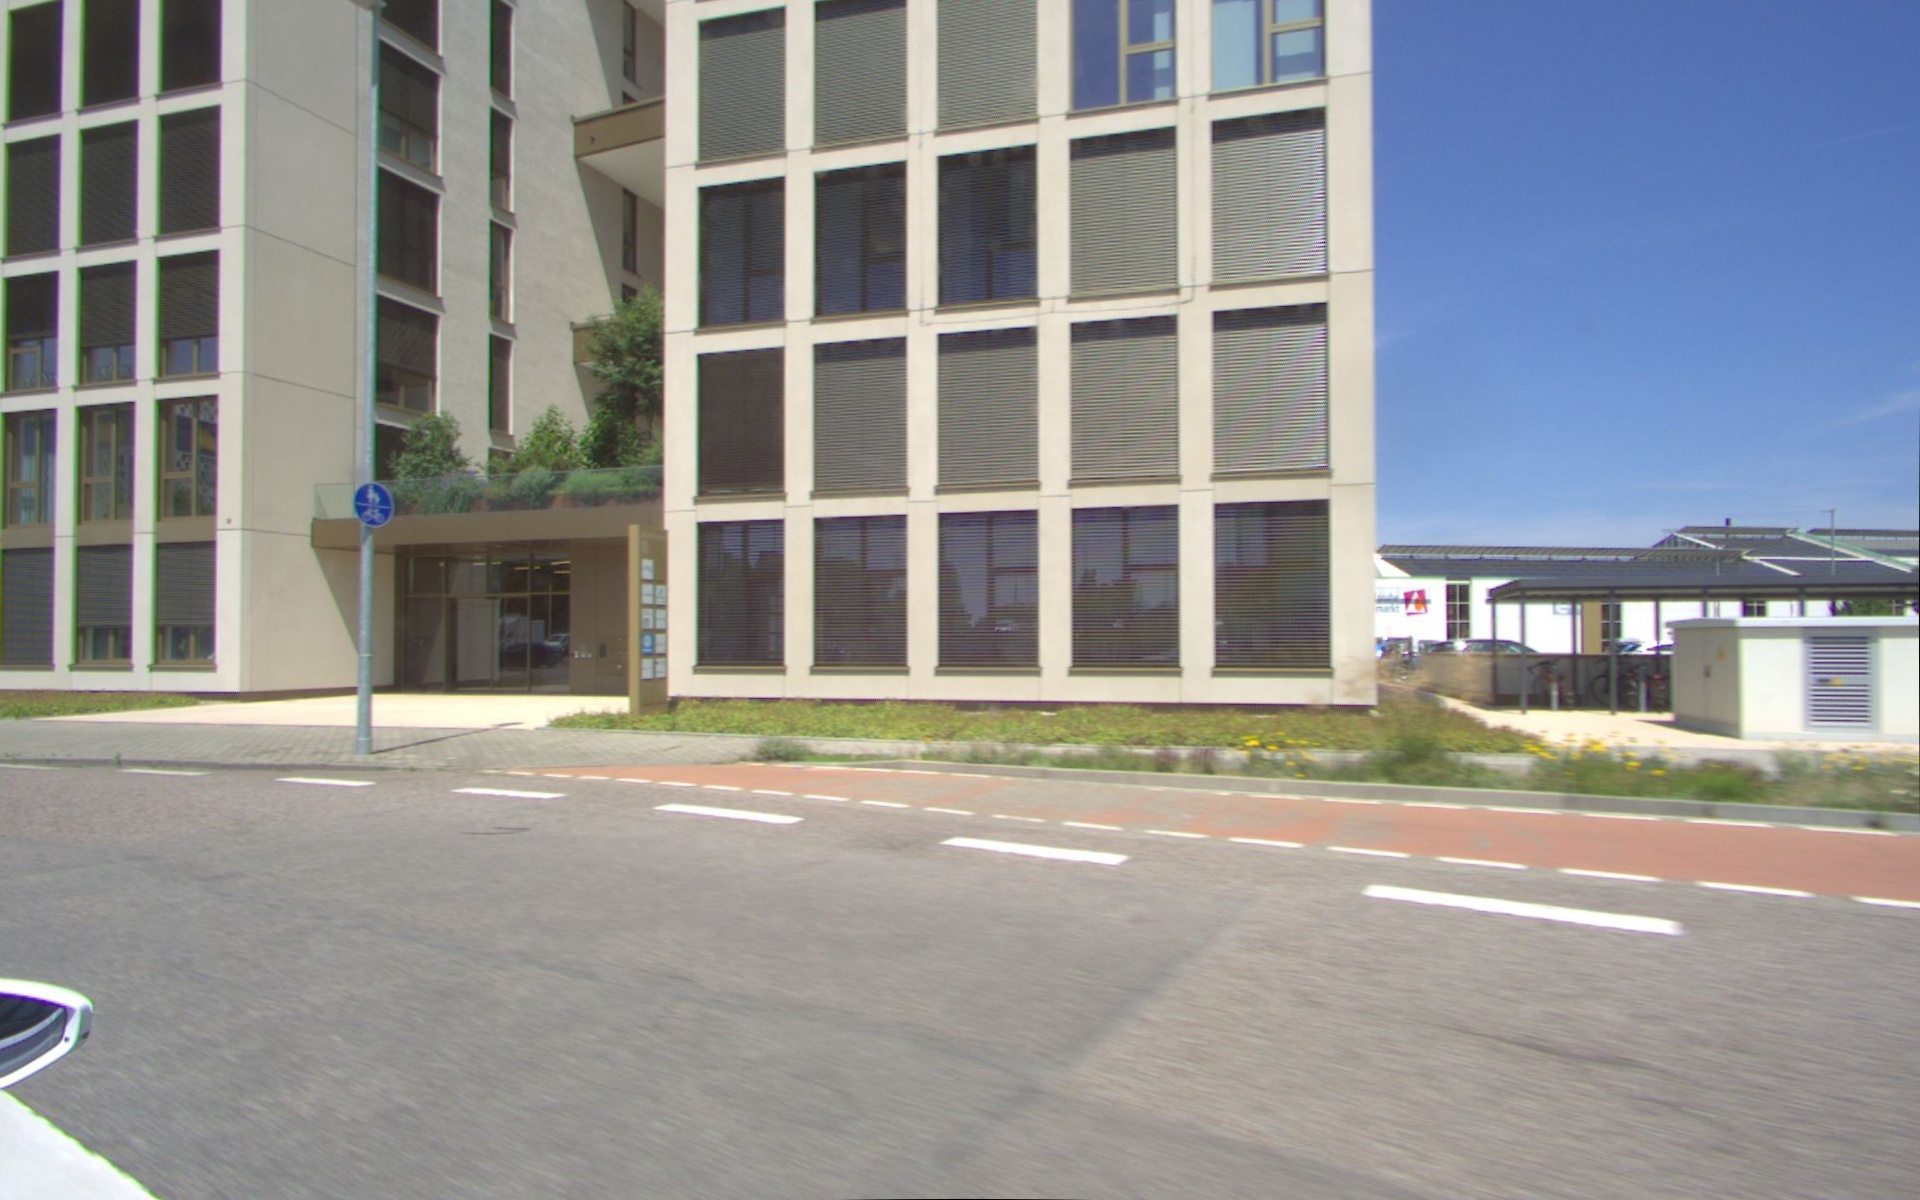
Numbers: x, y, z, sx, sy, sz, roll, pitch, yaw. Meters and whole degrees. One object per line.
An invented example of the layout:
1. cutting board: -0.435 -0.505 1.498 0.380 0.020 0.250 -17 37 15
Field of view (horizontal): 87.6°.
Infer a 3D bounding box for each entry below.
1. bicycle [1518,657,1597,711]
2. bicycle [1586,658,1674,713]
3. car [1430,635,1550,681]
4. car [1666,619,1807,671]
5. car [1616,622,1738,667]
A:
1. bicycle: 12.175 1.692 20.462 0.721 1.014 1.840 0 -2 8
2. bicycle: 13.380 1.682 20.056 0.721 1.014 1.840 0 -2 8
3. car: 17.040 1.852 32.314 3.217 1.446 1.383 -1 -2 18
4. car: 29.950 1.728 38.779 3.934 1.934 1.995 -1 -2 24
5. car: 31.091 1.928 43.564 3.934 1.875 1.995 -1 -2 24
